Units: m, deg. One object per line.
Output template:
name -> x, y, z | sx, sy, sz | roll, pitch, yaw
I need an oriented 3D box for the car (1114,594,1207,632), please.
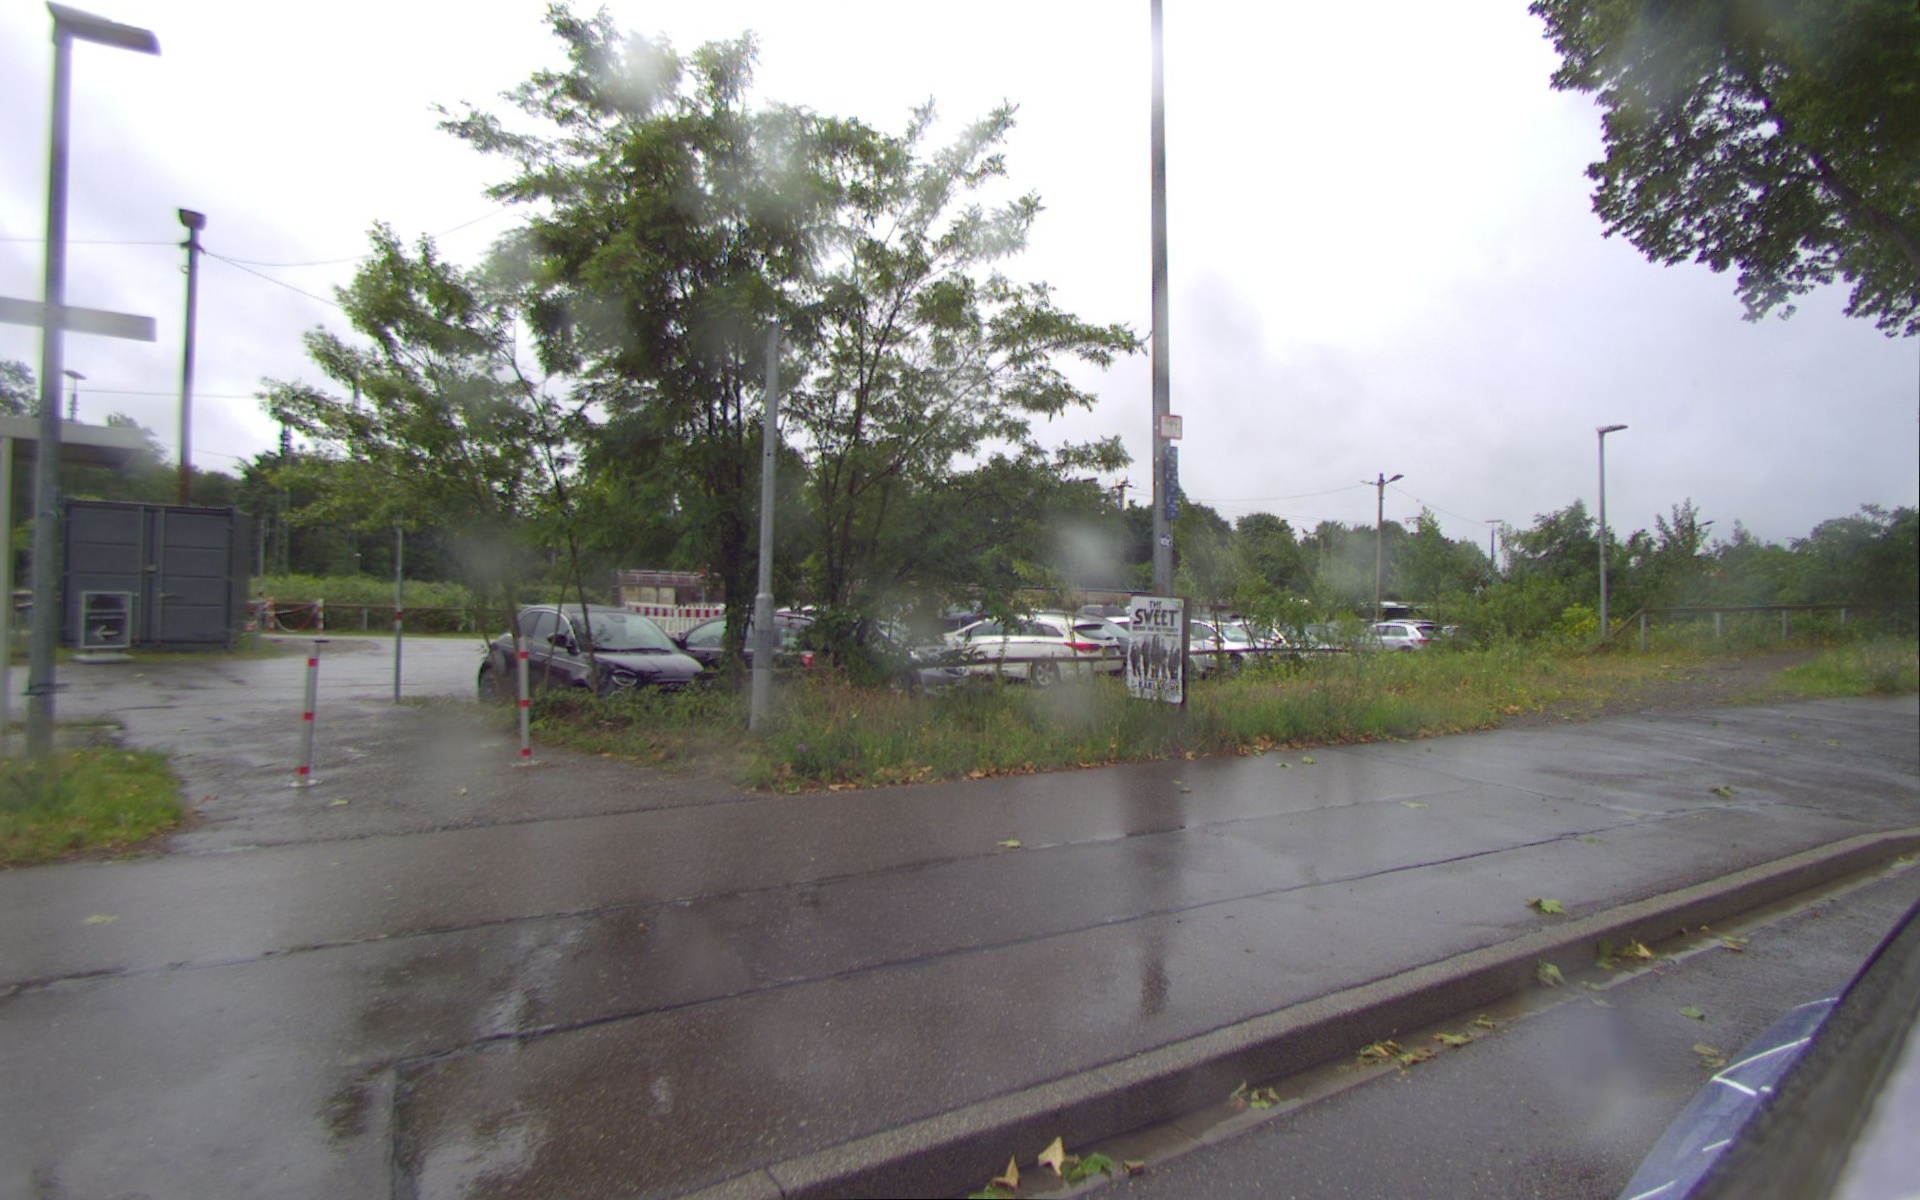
car -> 8.102, 0.490, 41.321 | 1.780, 1.393, 4.008 | 0, 1, -23

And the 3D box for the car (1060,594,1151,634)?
car -> 5.751, 0.519, 40.407 | 1.780, 1.455, 4.008 | 0, 1, -23

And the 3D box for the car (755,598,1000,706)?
car -> -1.468, 0.784, 17.249 | 3.978, 1.542, 1.851 | 1, 1, 38

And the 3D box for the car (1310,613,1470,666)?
car -> 13.770, 1.215, 32.600 | 1.843, 1.448, 4.390 | 0, 1, -41

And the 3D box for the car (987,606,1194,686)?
car -> 2.979, 0.992, 23.714 | 4.524, 1.579, 1.850 | 1, 1, 39

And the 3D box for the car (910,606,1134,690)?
car -> 1.255, 0.952, 21.842 | 4.623, 1.503, 1.850 | 1, 1, 39

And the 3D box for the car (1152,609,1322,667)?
car -> 8.153, 1.059, 30.018 | 4.524, 1.448, 1.850 | 1, 1, 39

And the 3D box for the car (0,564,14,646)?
car -> -17.413, 0.155, 16.531 | 1.804, 1.467, 4.007 | -1, 2, -27

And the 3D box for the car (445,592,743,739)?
car -> -4.681, 0.685, 12.719 | 3.978, 1.508, 1.681 | 1, 1, 38

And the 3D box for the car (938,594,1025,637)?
car -> 0.744, 0.543, 37.831 | 1.780, 1.455, 4.008 | 0, 1, -23

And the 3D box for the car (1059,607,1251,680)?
car -> 4.962, 1.044, 26.095 | 4.524, 1.579, 1.850 | 1, 1, 39

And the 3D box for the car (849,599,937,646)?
car -> -2.453, 0.742, 36.002 | 1.920, 1.492, 4.008 | 0, 1, -23

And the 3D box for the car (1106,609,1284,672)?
car -> 6.523, 1.064, 28.420 | 4.531, 1.484, 1.972 | 2, 1, 43

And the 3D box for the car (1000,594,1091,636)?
car -> 3.203, 0.549, 38.776 | 1.780, 1.455, 4.008 | 0, 1, -23

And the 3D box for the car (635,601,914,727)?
car -> -2.782, 0.814, 14.821 | 3.978, 1.522, 1.851 | 1, 1, 38
